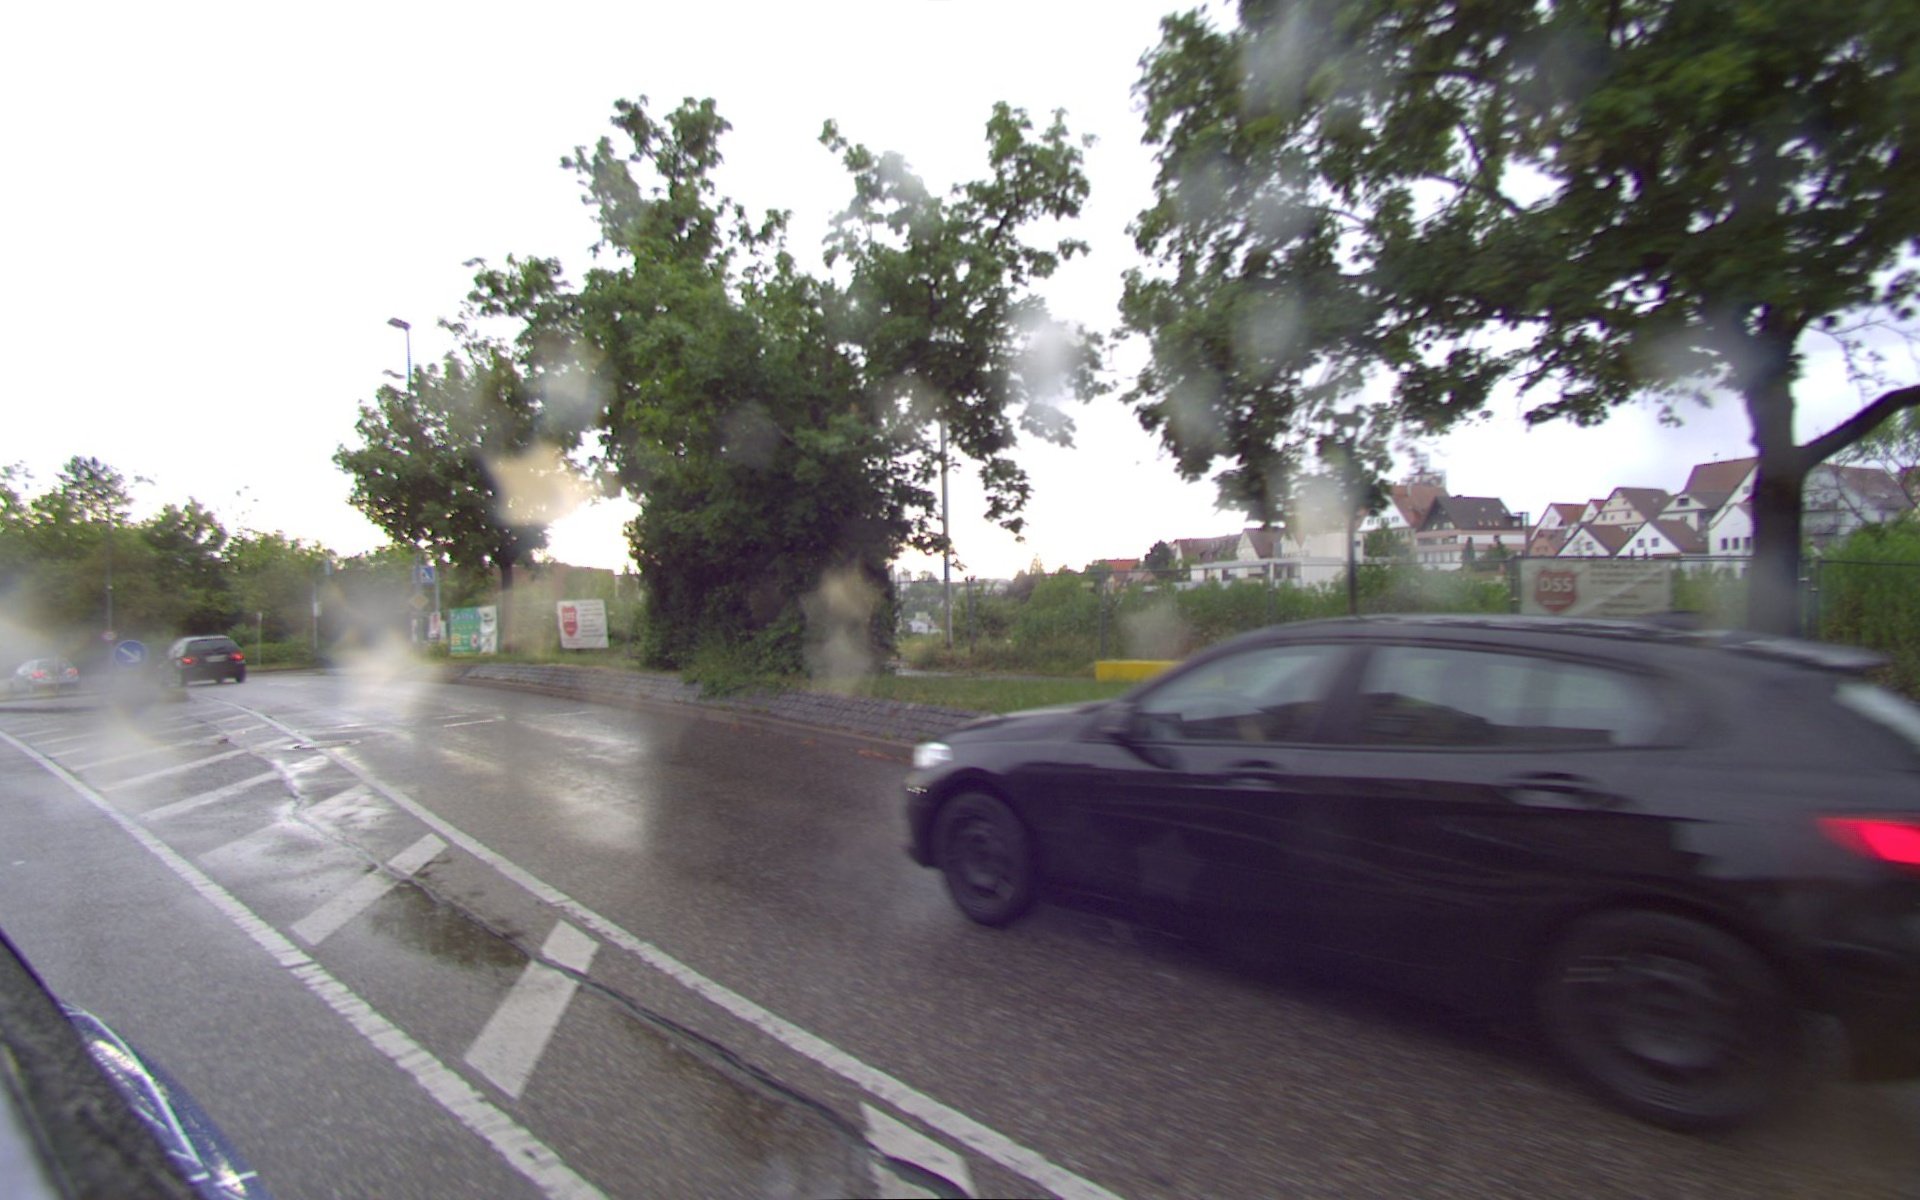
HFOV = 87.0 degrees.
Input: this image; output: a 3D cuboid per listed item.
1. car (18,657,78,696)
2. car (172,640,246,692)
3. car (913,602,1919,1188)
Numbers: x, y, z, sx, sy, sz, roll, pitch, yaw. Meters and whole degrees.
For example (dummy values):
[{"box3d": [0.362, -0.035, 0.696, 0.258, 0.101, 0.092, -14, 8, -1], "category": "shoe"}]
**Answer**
[{"box3d": [-42.290, 3.505, 46.888, 4.155, 1.563, 1.626, -3, 2, 43], "category": "car"}, {"box3d": [-25.018, 2.149, 33.656, 1.620, 1.532, 4.076, -2, -1, -41], "category": "car"}, {"box3d": [1.836, 0.728, 4.092, 4.054, 1.421, 1.717, 0, -1, 43], "category": "car"}]
